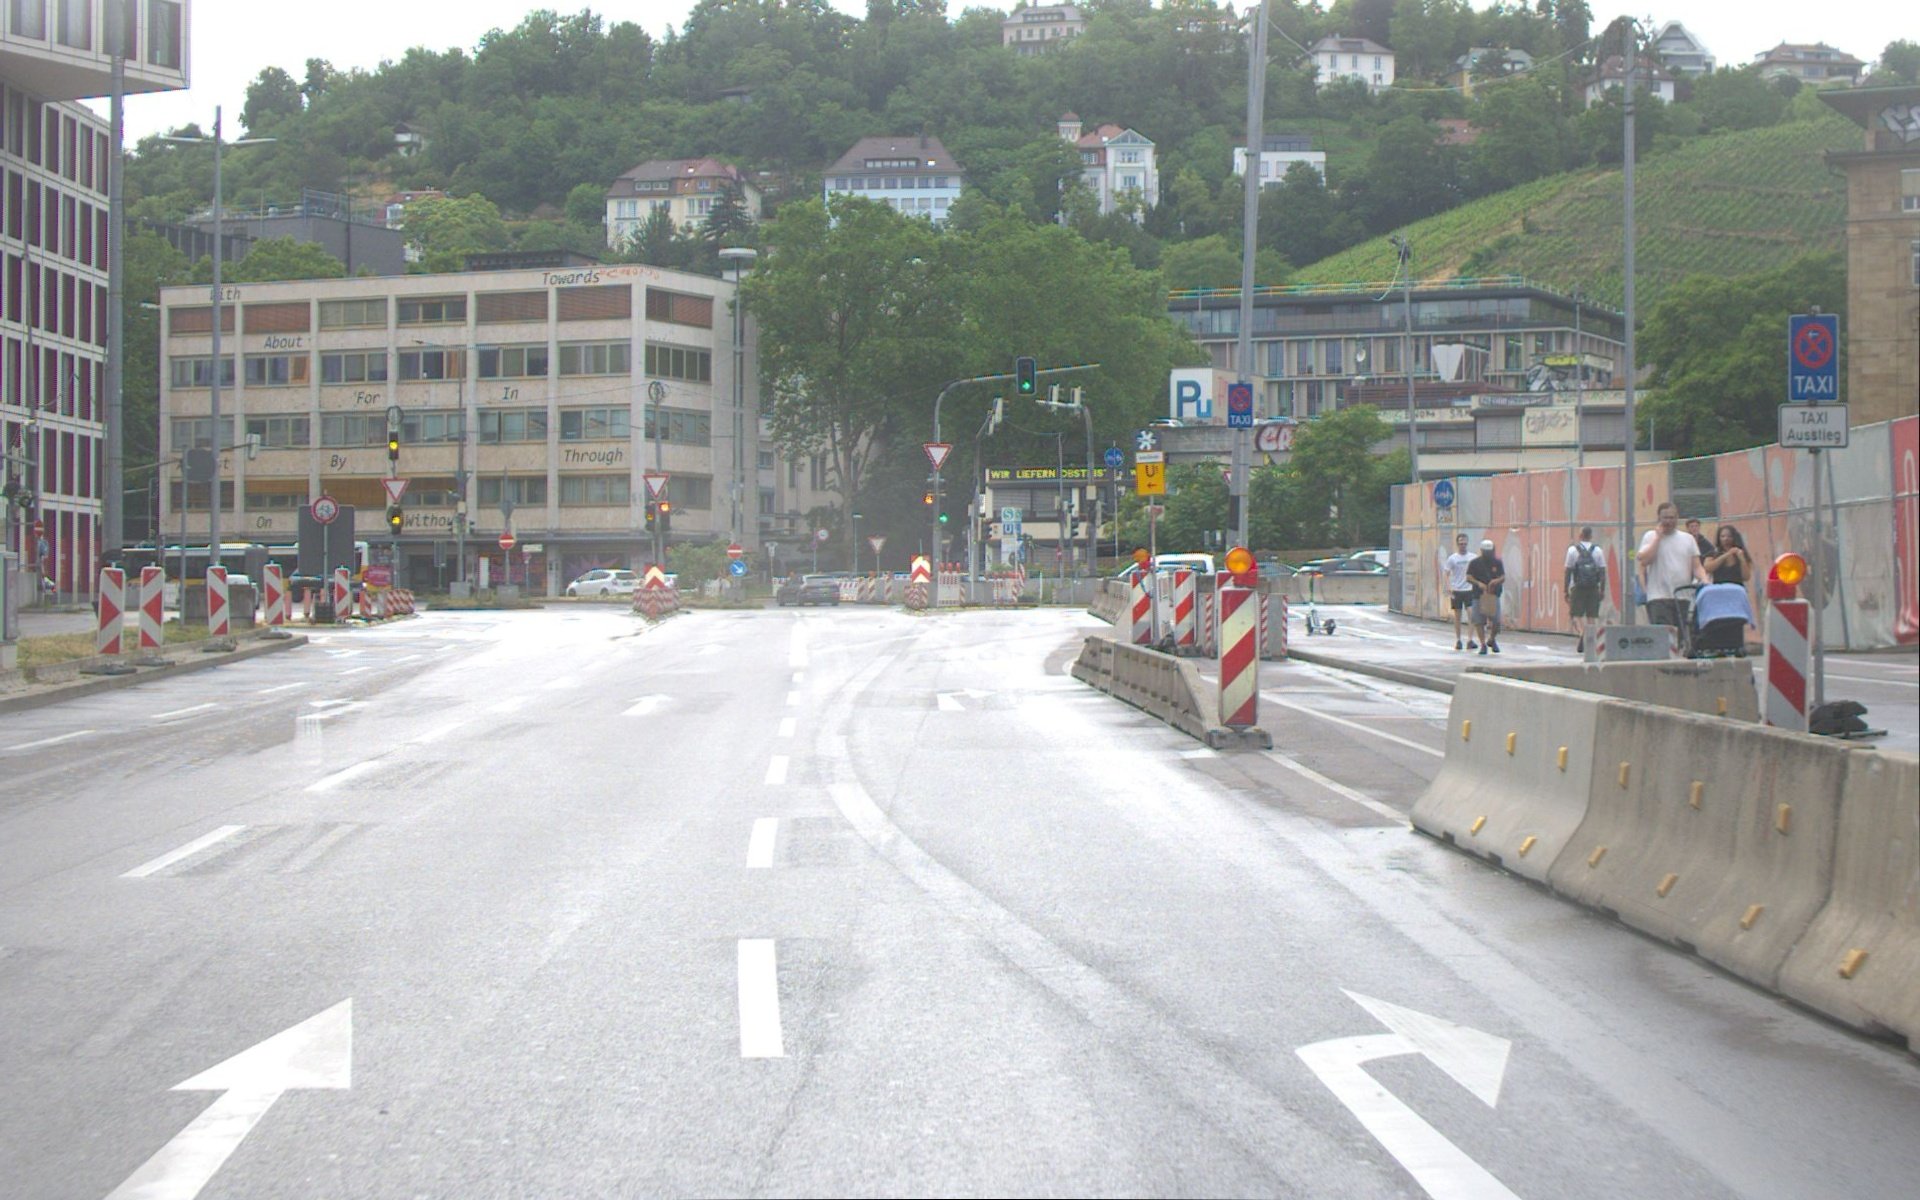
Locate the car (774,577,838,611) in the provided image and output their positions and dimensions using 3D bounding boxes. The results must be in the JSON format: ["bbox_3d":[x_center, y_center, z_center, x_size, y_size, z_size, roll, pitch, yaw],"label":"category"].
[{"bbox_3d":[-6.867,-0.290,153.005,1.729,1.487,4.079,0,1,-20],"label":"car"}]

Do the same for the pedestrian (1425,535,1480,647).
[{"bbox_3d":[7.668,-0.148,53.566,0.683,1.734,0.907,0,1,-3],"label":"pedestrian"}]

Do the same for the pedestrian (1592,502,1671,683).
[{"bbox_3d":[7.041,-0.080,36.075,0.683,1.882,0.693,0,1,0],"label":"pedestrian"}]

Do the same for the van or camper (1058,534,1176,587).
[{"bbox_3d":[5.866,-1.486,128.474,4.241,1.972,1.851,0,0,-3],"label":"van or camper"}]

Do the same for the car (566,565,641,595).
[{"bbox_3d":[-18.001,-0.998,173.656,1.731,1.487,4.076,-1,1,-41],"label":"car"}]

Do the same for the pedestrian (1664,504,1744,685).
[{"bbox_3d":[7.806,-0.064,36.099,0.683,1.882,0.693,0,1,0],"label":"pedestrian"}]

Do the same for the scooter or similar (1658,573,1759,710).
[{"bbox_3d":[6.677,0.359,30.704,0.664,1.194,1.044,0,1,0],"label":"scooter or similar"}]

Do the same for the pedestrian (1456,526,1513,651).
[{"bbox_3d":[7.374,-0.168,48.344,0.642,1.734,0.838,0,1,-3],"label":"pedestrian"}]

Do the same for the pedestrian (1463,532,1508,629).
[{"bbox_3d":[10.143,-0.380,66.361,0.719,1.860,0.709,0,1,-3],"label":"pedestrian"}]

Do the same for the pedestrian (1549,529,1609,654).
[{"bbox_3d":[9.244,-0.134,51.388,0.703,1.860,0.990,0,1,-1],"label":"pedestrian"}]

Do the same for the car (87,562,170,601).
[{"bbox_3d":[-39.656,-0.876,163.936,3.996,1.809,1.802,1,1,38],"label":"car"}]

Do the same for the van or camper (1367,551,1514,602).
[{"bbox_3d":[18.001,-0.886,129.022,5.195,1.887,1.888,0,0,-3],"label":"van or camper"}]

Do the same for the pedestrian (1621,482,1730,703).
[{"bbox_3d":[6.598,-0.072,31.728,0.803,2.009,0.972,0,1,0],"label":"pedestrian"}]

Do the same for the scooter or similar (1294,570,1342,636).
[{"bbox_3d":[6.441,0.048,61.961,0.467,1.179,1.415,0,1,-11],"label":"scooter or similar"}]

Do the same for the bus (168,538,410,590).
[{"bbox_3d":[-36.607,-1.975,187.234,13.951,2.741,3.207,0,1,27],"label":"bus"}]

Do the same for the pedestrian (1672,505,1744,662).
[{"bbox_3d":[9.011,-0.200,41.428,0.683,1.882,0.693,0,1,-4],"label":"pedestrian"}]
